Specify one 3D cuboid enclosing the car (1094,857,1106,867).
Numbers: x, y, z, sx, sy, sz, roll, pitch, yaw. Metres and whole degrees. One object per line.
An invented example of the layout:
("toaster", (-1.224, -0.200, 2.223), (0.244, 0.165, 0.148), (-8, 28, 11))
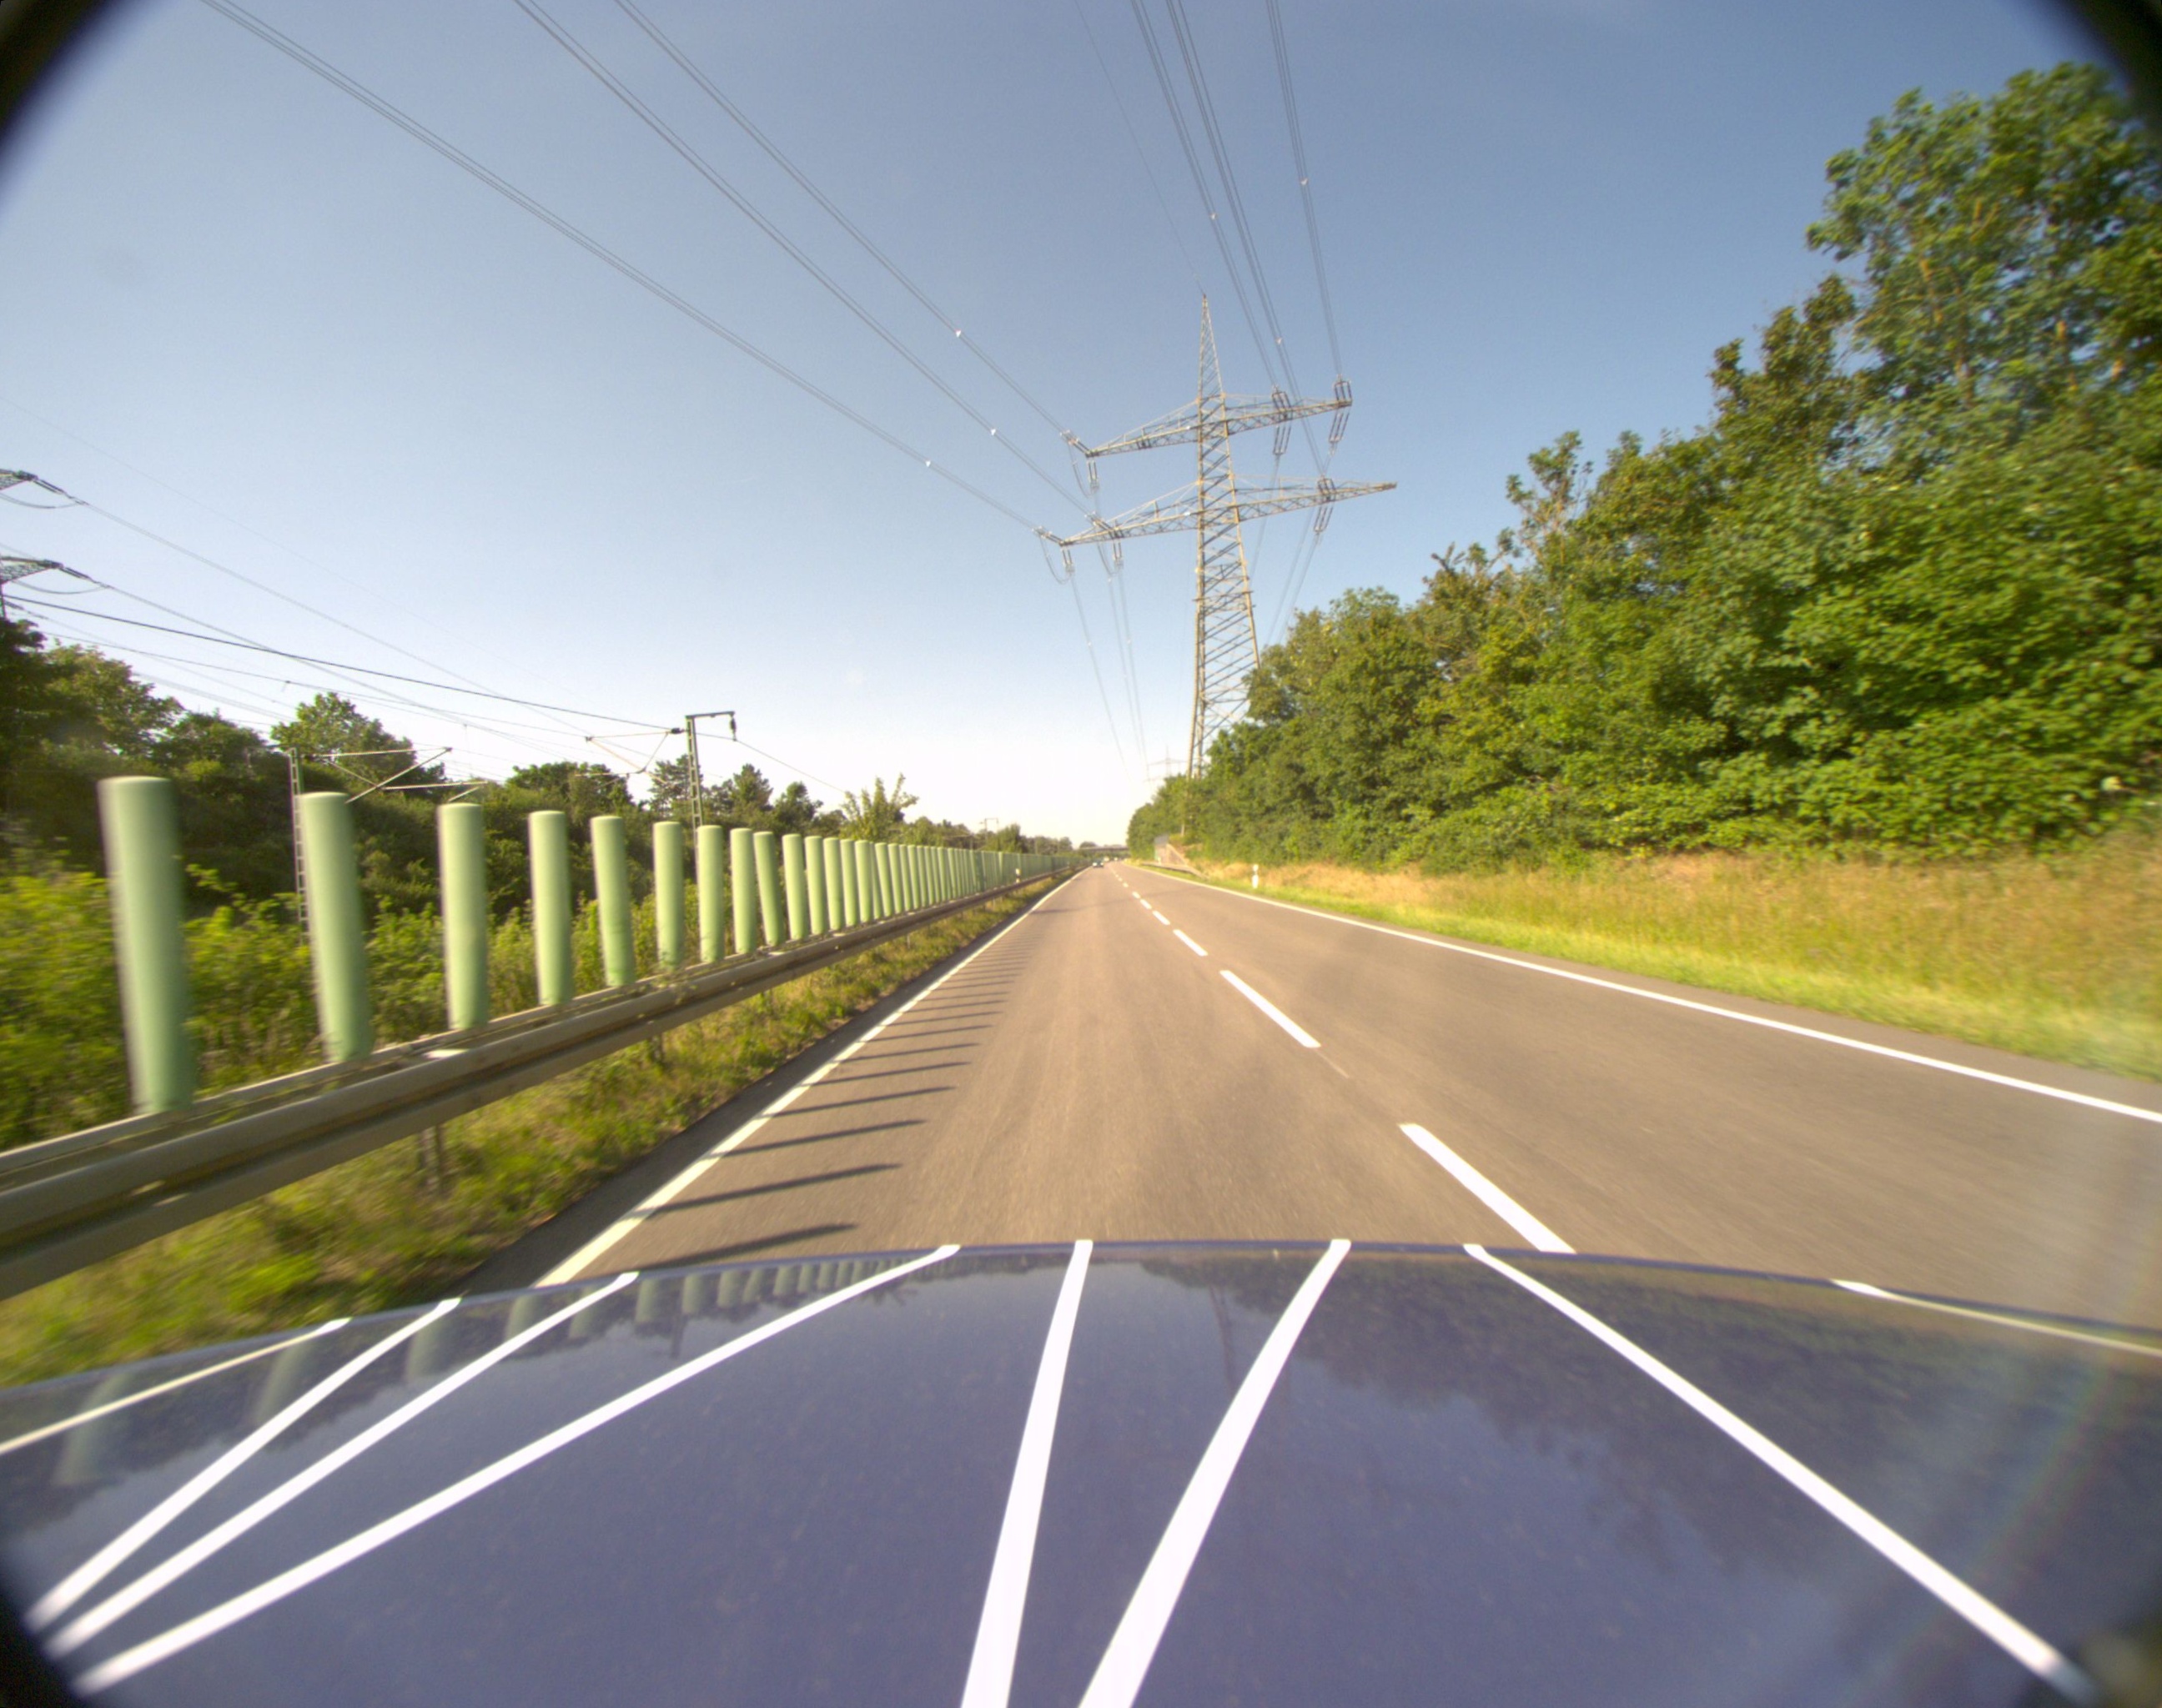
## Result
("car", (3.216, 1.331, 130.131), (1.786, 1.550, 4.001), (-2, 0, 4))
